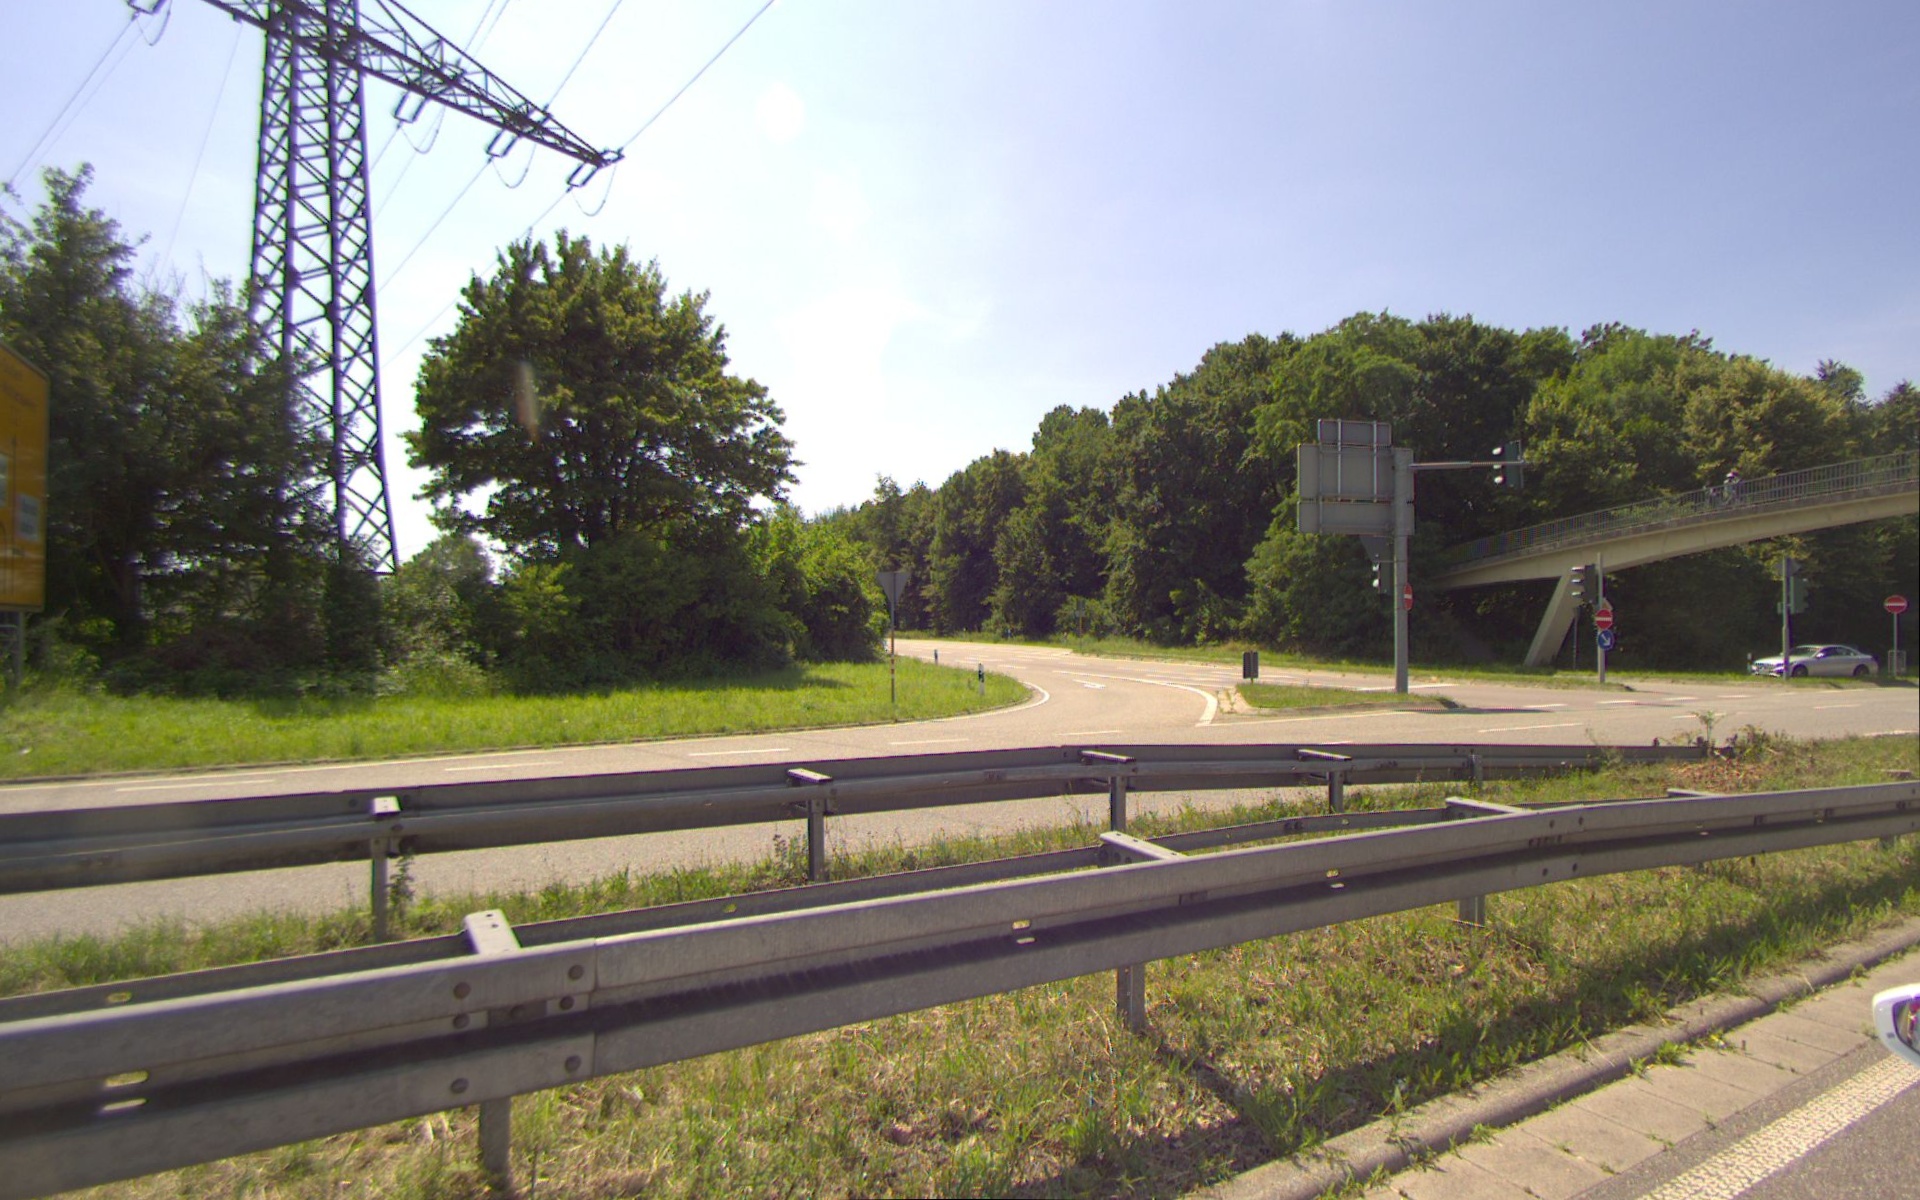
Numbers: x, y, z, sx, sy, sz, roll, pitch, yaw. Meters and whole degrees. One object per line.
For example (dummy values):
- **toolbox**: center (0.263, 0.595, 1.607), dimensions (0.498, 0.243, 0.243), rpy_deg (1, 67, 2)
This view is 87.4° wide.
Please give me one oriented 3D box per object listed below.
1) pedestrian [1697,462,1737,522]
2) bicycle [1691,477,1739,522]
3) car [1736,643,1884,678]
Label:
- **pedestrian**: center (29.188, -4.150, 38.742), dimensions (0.916, 2.167, 0.783), rpy_deg (2, -3, -14)
- **bicycle**: center (28.969, -3.840, 38.564), dimensions (0.462, 1.493, 1.528), rpy_deg (2, -3, -14)
- **car**: center (35.427, 2.518, 41.949), dimensions (4.691, 1.391, 1.999), rpy_deg (0, -2, -5)
